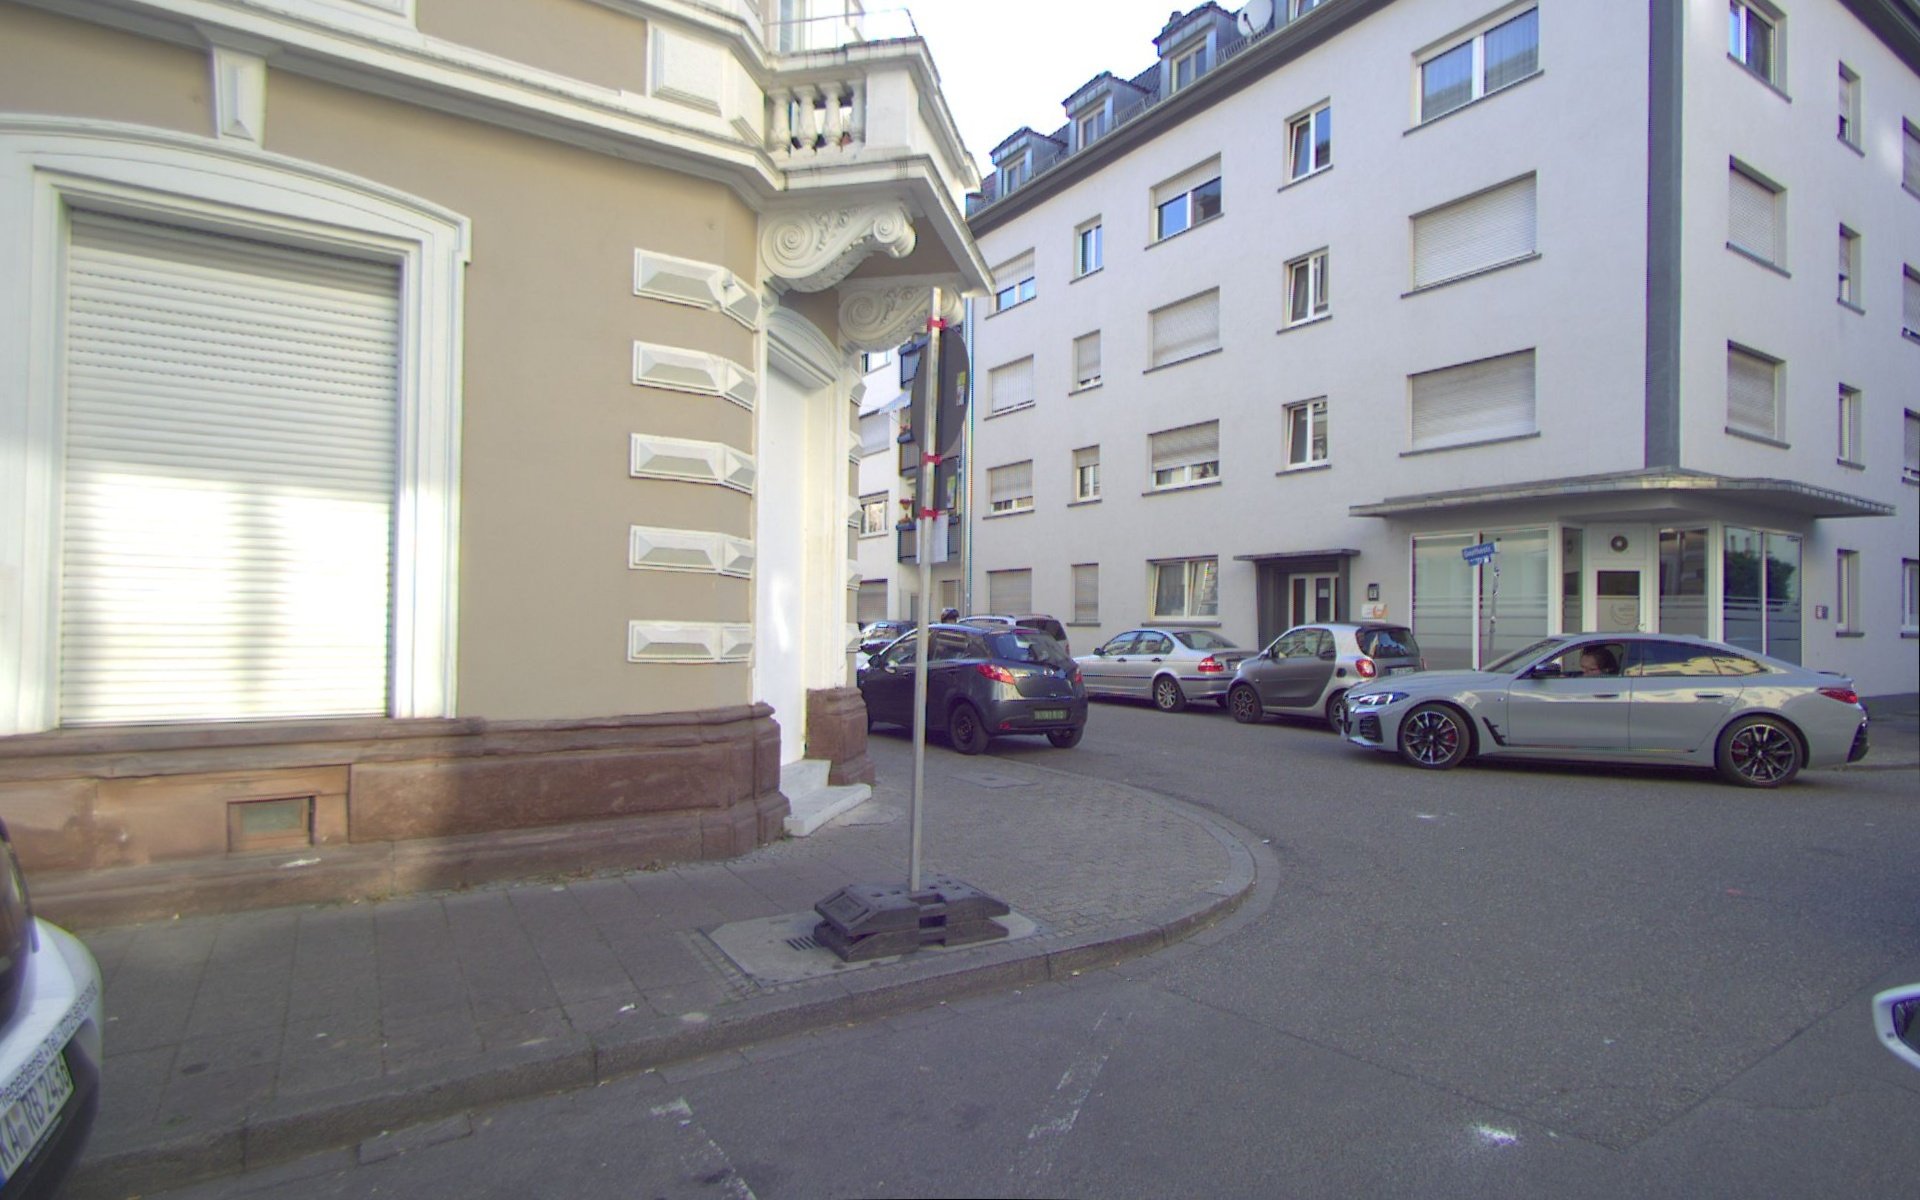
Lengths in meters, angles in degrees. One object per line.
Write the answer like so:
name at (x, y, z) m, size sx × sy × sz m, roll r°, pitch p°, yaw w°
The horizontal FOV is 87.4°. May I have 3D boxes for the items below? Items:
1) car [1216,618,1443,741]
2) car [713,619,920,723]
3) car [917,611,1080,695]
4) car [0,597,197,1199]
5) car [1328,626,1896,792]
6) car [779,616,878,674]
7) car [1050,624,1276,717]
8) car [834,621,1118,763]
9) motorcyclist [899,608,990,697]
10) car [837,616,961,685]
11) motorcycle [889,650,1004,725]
car at (5.392, 1.098, 14.906) m, size 1.576 × 1.560 × 2.771 m, roll 1°, pitch 0°, yaw -31°
car at (-2.534, 1.075, 16.775) m, size 1.884 × 1.481 × 4.286 m, roll 1°, pitch -1°, yaw -32°
car at (0.760, 1.109, 22.440) m, size 1.586 × 1.626 × 3.993 m, roll 1°, pitch 0°, yaw -33°
car at (-3.492, 0.774, 0.921) m, size 4.218 × 1.527 × 1.911 m, roll 1°, pitch -3°, yaw -31°
car at (6.542, 1.034, 10.745) m, size 4.714 × 1.470 × 1.935 m, roll 0°, pitch -1°, yaw 15°
car at (-4.013, 1.315, 30.228) m, size 1.586 × 1.560 × 3.470 m, roll 1°, pitch 0°, yaw -33°
car at (3.562, 1.194, 18.380) m, size 1.586 × 1.422 × 4.179 m, roll 1°, pitch -1°, yaw -33°
car at (0.069, 1.014, 12.529) m, size 1.713 × 1.470 × 3.639 m, roll 1°, pitch -2°, yaw -36°
motorcyclist at (-0.261, 0.807, 15.894) m, size 0.961 × 1.347 × 1.218 m, roll 1°, pitch -1°, yaw -31°
car at (-1.664, 1.262, 26.249) m, size 1.587 × 1.560 × 3.685 m, roll 1°, pitch 0°, yaw -34°
motorcycle at (-0.248, 1.340, 15.844) m, size 0.961 × 1.042 × 1.980 m, roll 1°, pitch -1°, yaw -31°
